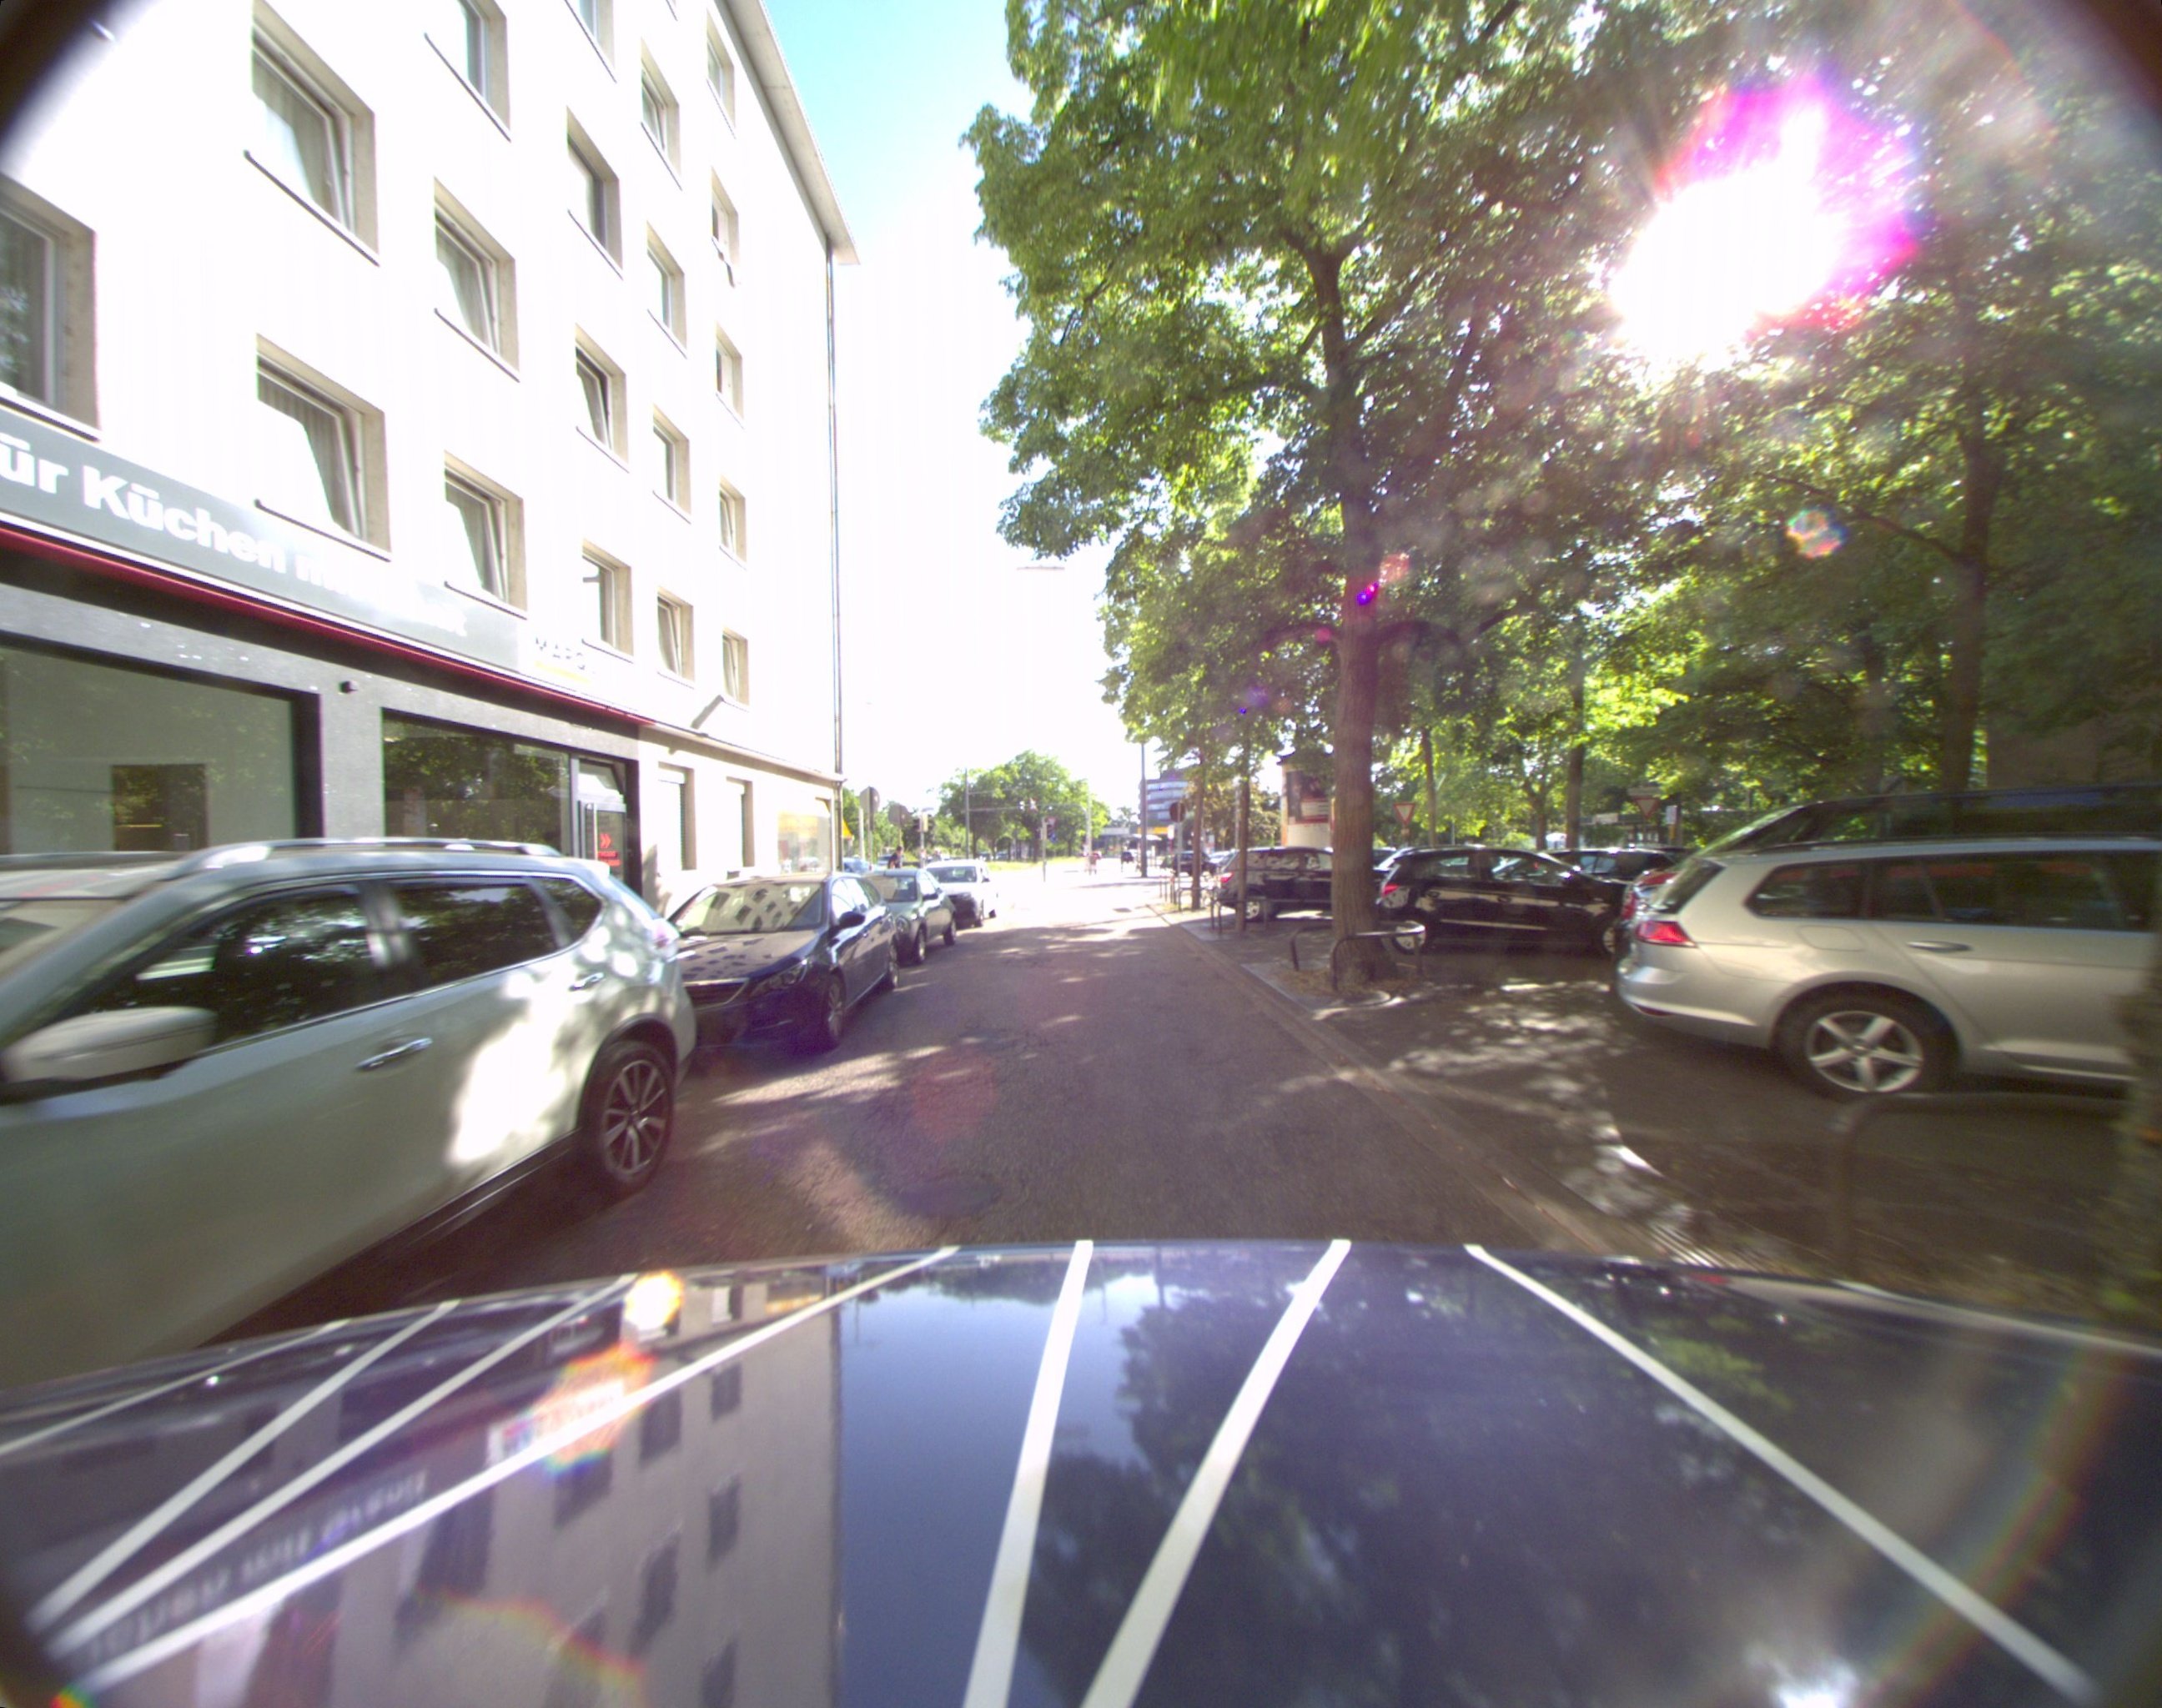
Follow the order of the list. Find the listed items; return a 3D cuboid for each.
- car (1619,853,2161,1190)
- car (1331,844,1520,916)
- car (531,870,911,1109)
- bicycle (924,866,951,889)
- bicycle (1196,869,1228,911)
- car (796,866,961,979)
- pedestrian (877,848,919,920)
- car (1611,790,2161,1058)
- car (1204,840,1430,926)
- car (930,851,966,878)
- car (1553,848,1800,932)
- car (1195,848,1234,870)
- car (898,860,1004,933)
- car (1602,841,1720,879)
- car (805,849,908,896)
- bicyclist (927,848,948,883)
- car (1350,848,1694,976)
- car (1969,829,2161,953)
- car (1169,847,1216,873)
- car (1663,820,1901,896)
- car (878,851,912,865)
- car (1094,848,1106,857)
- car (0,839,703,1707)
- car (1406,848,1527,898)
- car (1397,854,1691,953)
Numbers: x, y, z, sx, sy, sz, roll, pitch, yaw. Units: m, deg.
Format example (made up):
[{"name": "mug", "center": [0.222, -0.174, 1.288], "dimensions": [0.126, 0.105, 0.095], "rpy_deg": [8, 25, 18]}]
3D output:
[{"name": "car", "center": [5.572, 0.764, 4.091], "dimensions": [4.331, 1.498, 1.817], "rpy_deg": [-1, 1, 34]}, {"name": "car", "center": [8.252, 0.586, 18.500], "dimensions": [3.990, 1.601, 1.925], "rpy_deg": [0, 1, 21]}, {"name": "car", "center": [-2.924, 0.958, 7.377], "dimensions": [1.807, 1.455, 4.438], "rpy_deg": [-1, 0, -4]}, {"name": "bicycle", "center": [-6.486, 1.047, 34.306], "dimensions": [0.830, 0.981, 1.942], "rpy_deg": [-1, 1, -21]}, {"name": "bicycle", "center": [3.654, 0.988, 21.284], "dimensions": [0.354, 1.066, 1.591], "rpy_deg": [-1, 1, -10]}, {"name": "car", "center": [-3.080, 0.978, 12.316], "dimensions": [1.600, 1.455, 3.672], "rpy_deg": [-1, 1, 1]}, {"name": "pedestrian", "center": [-4.462, 0.723, 18.603], "dimensions": [0.760, 1.712, 0.745], "rpy_deg": [-1, 1, 6]}, {"name": "car", "center": [7.328, 0.483, 6.560], "dimensions": [4.490, 1.862, 1.939], "rpy_deg": [-1, 1, 34]}, {"name": "car", "center": [5.095, 0.637, 16.524], "dimensions": [4.326, 1.661, 1.840], "rpy_deg": [-3, 0, 30]}, {"name": "car", "center": [-8.227, 0.610, 46.657], "dimensions": [1.924, 1.510, 5.031], "rpy_deg": [-1, 1, -13]}, {"name": "car", "center": [11.951, 0.639, 15.638], "dimensions": [1.759, 1.478, 3.946], "rpy_deg": [-1, 1, -6]}, {"name": "car", "center": [9.621, 0.346, 54.481], "dimensions": [1.679, 1.499, 3.602], "rpy_deg": [0, 1, 29]}, {"name": "car", "center": [-2.971, 0.916, 18.179], "dimensions": [1.723, 1.489, 4.023], "rpy_deg": [-1, 0, 1]}, {"name": "car", "center": [25.768, 0.242, 33.772], "dimensions": [4.488, 1.543, 1.903], "rpy_deg": [-1, 1, -17]}, {"name": "car", "center": [-9.296, 0.724, 31.276], "dimensions": [4.472, 1.765, 1.878], "rpy_deg": [0, 1, 40]}, {"name": "bicyclist", "center": [-6.476, 0.504, 34.247], "dimensions": [0.829, 1.555, 0.595], "rpy_deg": [-1, 1, -21]}, {"name": "car", "center": [5.874, 0.688, 10.504], "dimensions": [3.813, 1.472, 1.764], "rpy_deg": [-1, 1, 29]}, {"name": "car", "center": [15.164, 0.475, 10.084], "dimensions": [1.758, 1.630, 4.246], "rpy_deg": [-1, 0, -1]}, {"name": "car", "center": [6.936, 0.337, 47.011], "dimensions": [1.680, 1.499, 3.602], "rpy_deg": [-3, 0, 29]}, {"name": "car", "center": [15.566, 0.061, 17.206], "dimensions": [1.758, 1.502, 3.949], "rpy_deg": [-1, 0, 0]}, {"name": "car", "center": [-19.426, 0.402, 79.454], "dimensions": [1.871, 1.447, 4.487], "rpy_deg": [-1, 0, 9]}, {"name": "car", "center": [3.324, -0.267, 134.948], "dimensions": [1.998, 1.543, 4.484], "rpy_deg": [-1, 0, 0]}, {"name": "car", "center": [-3.018, 0.851, 2.064], "dimensions": [1.766, 1.743, 4.509], "rpy_deg": [-1, 1, -1]}, {"name": "car", "center": [12.770, 0.574, 25.499], "dimensions": [1.907, 1.510, 4.300], "rpy_deg": [-1, 1, 1]}, {"name": "car", "center": [7.450, 0.740, 12.693], "dimensions": [3.939, 1.414, 1.824], "rpy_deg": [-1, 1, 25]}]
